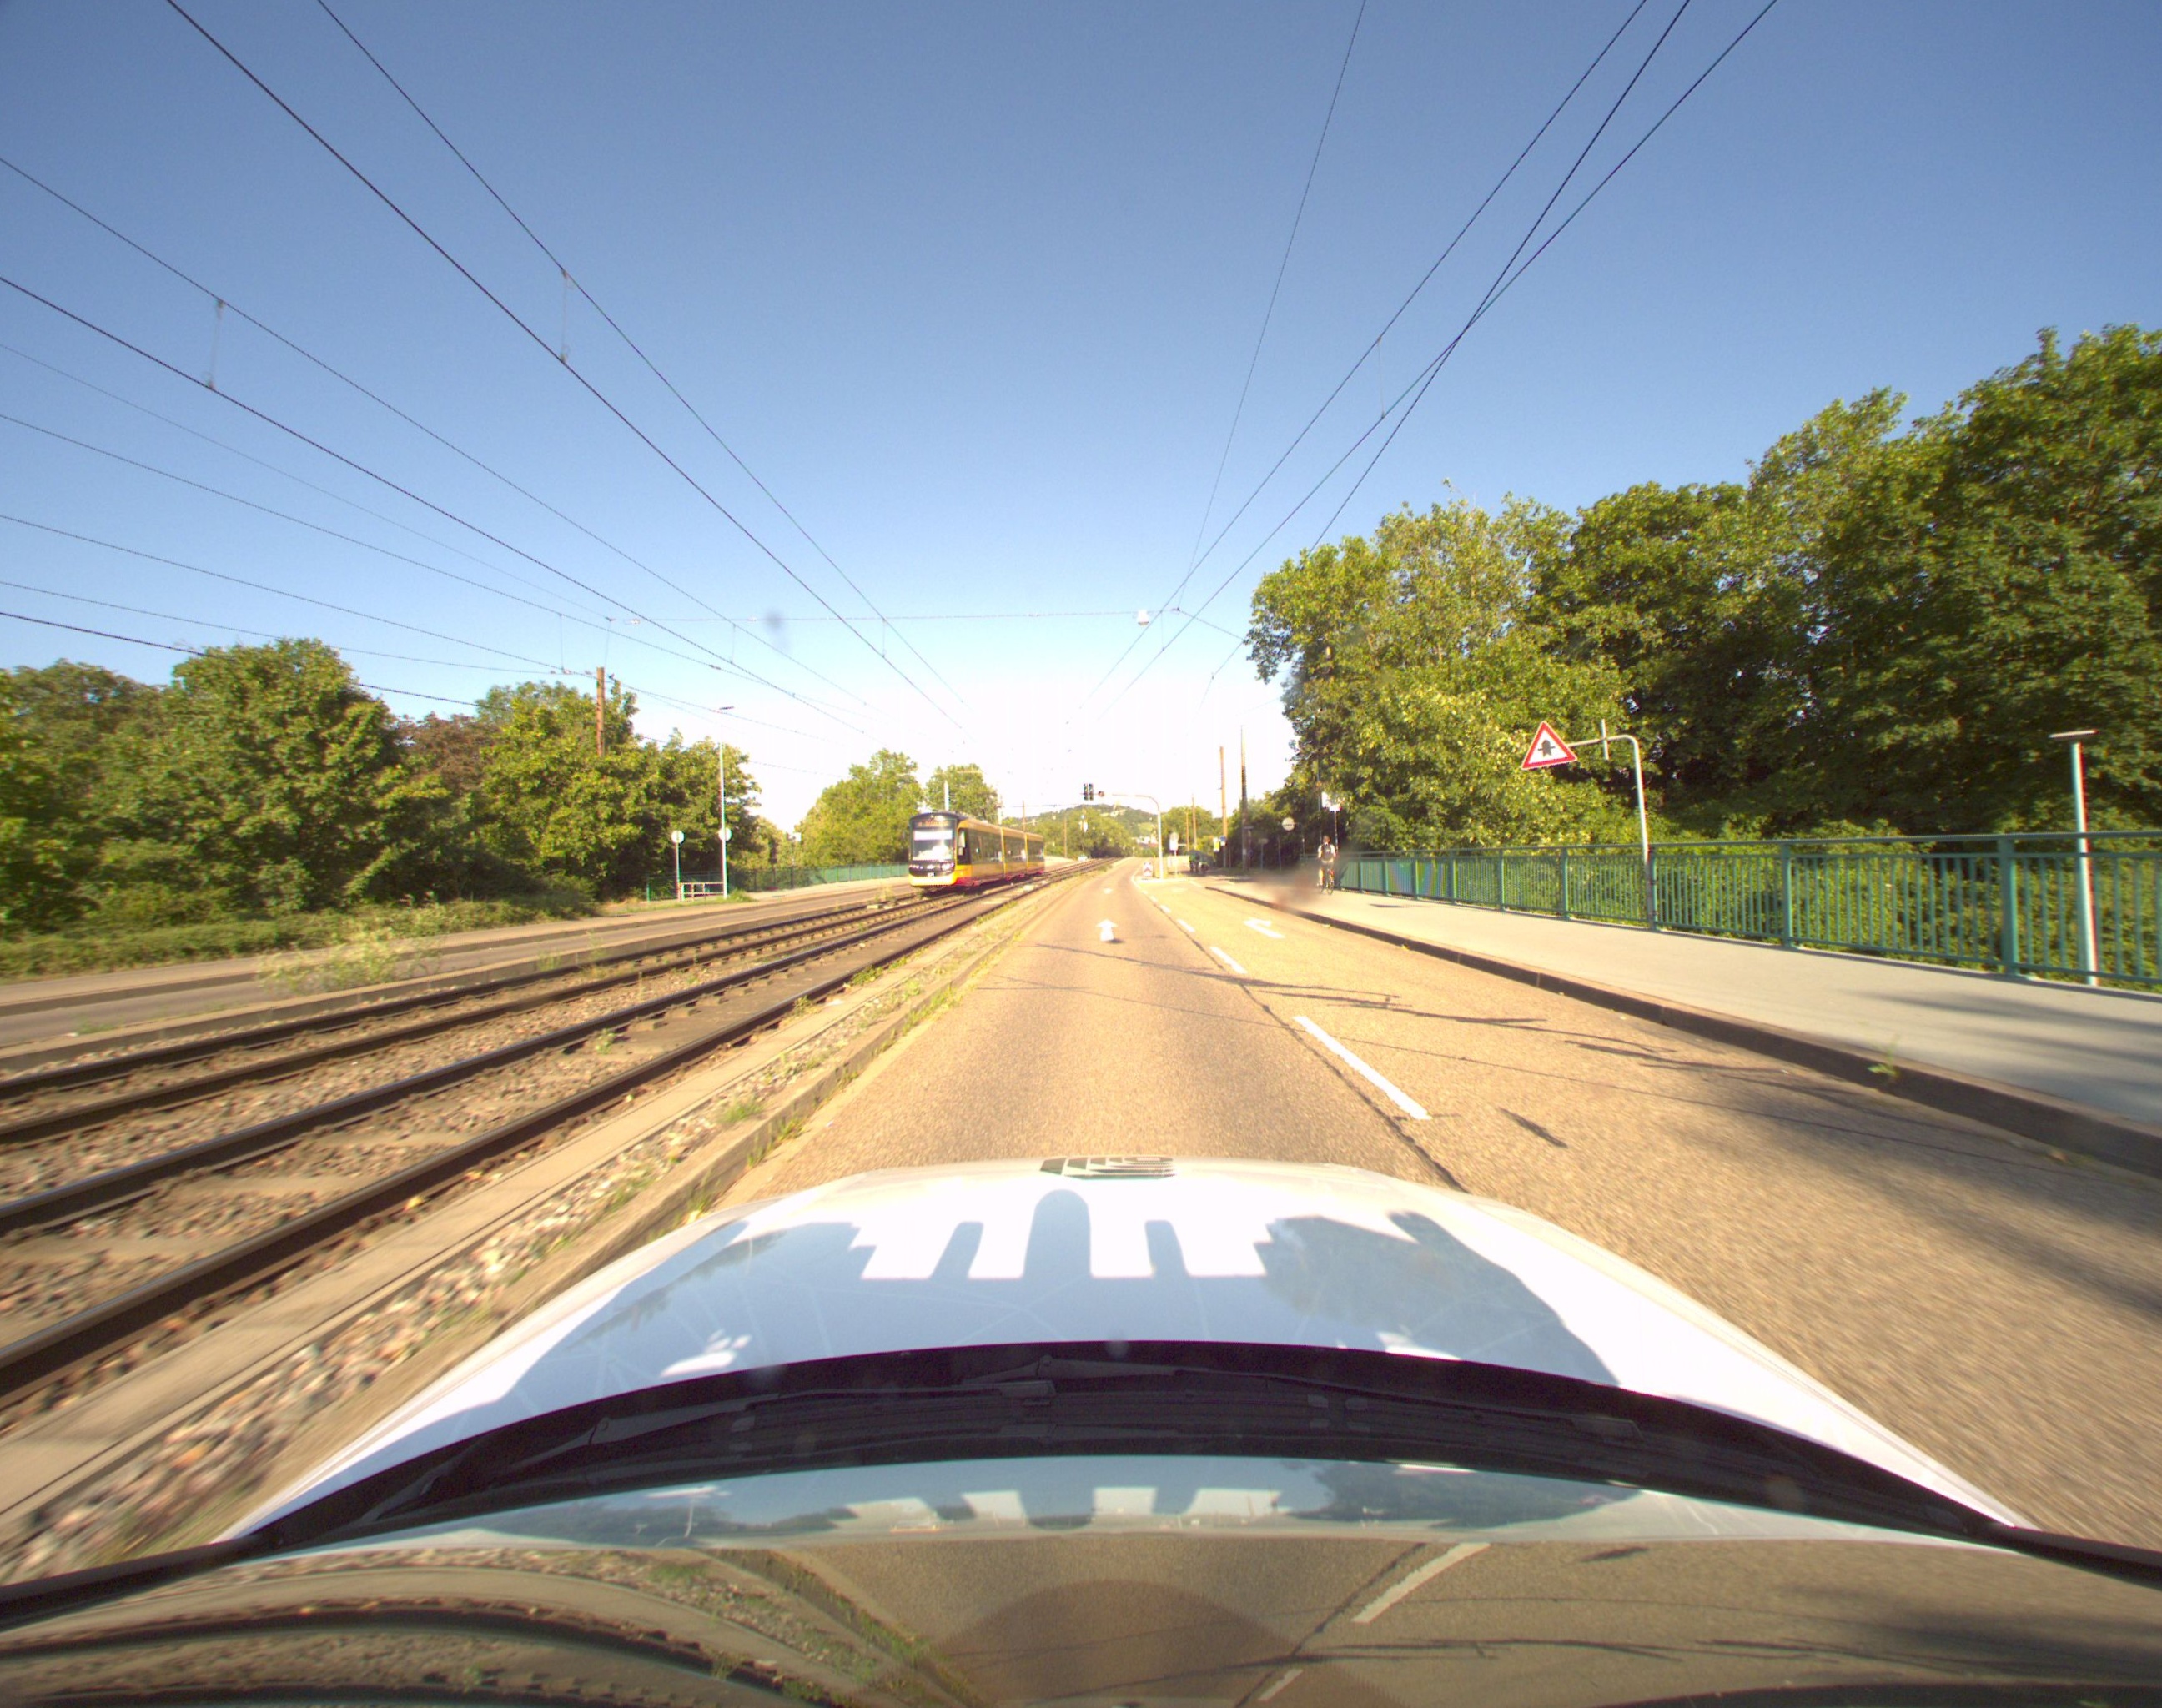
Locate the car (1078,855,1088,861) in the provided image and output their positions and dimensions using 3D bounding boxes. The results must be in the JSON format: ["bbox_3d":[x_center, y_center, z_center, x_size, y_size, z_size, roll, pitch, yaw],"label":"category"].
[{"bbox_3d":[0.437,0.932,185.412,1.675,1.356,4.928,-1,0,6],"label":"car"}]

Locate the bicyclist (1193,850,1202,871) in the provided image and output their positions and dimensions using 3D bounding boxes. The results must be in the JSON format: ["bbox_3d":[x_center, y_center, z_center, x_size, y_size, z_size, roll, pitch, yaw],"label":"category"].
[{"bbox_3d":[9.287,0.517,64.908,0.622,1.592,0.932,-1,0,5],"label":"bicyclist"}]

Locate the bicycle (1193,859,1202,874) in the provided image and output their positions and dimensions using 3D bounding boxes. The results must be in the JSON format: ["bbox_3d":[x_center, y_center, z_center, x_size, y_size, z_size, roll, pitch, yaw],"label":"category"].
[{"bbox_3d":[9.259,0.970,64.887,0.622,1.122,2.045,-1,0,6],"label":"bicycle"}]

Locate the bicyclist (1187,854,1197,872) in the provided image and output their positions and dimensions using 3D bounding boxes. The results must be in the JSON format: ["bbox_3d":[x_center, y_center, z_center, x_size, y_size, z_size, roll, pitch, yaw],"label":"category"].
[{"bbox_3d":[9.256,0.726,67.895,0.623,1.508,1.006,-1,0,2],"label":"bicyclist"}]

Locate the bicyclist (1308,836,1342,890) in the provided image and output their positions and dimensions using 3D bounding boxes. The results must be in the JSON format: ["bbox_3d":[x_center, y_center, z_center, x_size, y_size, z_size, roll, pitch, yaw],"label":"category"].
[{"bbox_3d":[7.965,0.295,26.606,0.728,1.689,1.202,-1,0,1],"label":"bicyclist"}]

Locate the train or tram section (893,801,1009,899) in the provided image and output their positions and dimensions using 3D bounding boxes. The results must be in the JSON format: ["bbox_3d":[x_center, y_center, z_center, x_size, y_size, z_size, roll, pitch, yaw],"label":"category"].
[{"bbox_3d":[-5.901,-0.156,39.904,2.992,3.901,13.087,-2,0,2],"label":"train or tram section"}]

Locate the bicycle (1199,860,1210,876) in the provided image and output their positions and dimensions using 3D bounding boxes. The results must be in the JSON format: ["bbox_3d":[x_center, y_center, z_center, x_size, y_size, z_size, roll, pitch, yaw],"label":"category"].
[{"bbox_3d":[9.073,1.027,59.727,0.680,1.122,2.220,-1,1,6],"label":"bicycle"}]

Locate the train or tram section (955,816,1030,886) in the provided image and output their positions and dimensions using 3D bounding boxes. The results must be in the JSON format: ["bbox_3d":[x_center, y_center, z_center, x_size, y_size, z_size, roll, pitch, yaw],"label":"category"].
[{"bbox_3d":[-5.407,-0.136,52.278,2.965,3.901,11.671,-2,0,2],"label":"train or tram section"}]

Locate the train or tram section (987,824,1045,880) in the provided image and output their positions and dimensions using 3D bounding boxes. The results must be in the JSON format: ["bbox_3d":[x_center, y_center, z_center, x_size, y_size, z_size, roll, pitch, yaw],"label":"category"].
[{"bbox_3d":[-4.943,-0.139,64.437,2.966,3.901,12.708,-2,0,2],"label":"train or tram section"}]

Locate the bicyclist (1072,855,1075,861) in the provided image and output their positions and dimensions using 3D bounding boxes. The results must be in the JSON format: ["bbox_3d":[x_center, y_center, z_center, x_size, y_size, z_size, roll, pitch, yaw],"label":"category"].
[{"bbox_3d":[-1.754,0.888,195.601,0.622,1.432,0.969,-1,0,3],"label":"bicyclist"}]

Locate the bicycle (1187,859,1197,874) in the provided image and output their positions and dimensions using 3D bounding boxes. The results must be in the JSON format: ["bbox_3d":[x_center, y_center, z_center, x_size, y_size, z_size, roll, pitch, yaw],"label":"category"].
[{"bbox_3d":[9.260,1.036,68.020,0.623,1.122,2.261,-1,0,2],"label":"bicycle"}]

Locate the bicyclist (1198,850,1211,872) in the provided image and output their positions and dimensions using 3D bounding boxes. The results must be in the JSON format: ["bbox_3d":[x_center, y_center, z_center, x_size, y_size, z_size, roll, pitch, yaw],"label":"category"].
[{"bbox_3d":[9.049,0.537,59.703,0.808,1.562,0.898,-1,1,5],"label":"bicyclist"}]

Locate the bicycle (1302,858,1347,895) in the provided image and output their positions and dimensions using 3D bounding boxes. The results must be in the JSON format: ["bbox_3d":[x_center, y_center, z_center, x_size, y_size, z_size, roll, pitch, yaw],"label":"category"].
[{"bbox_3d":[7.966,0.701,26.772,0.728,1.122,2.743,-1,0,2],"label":"bicycle"}]
